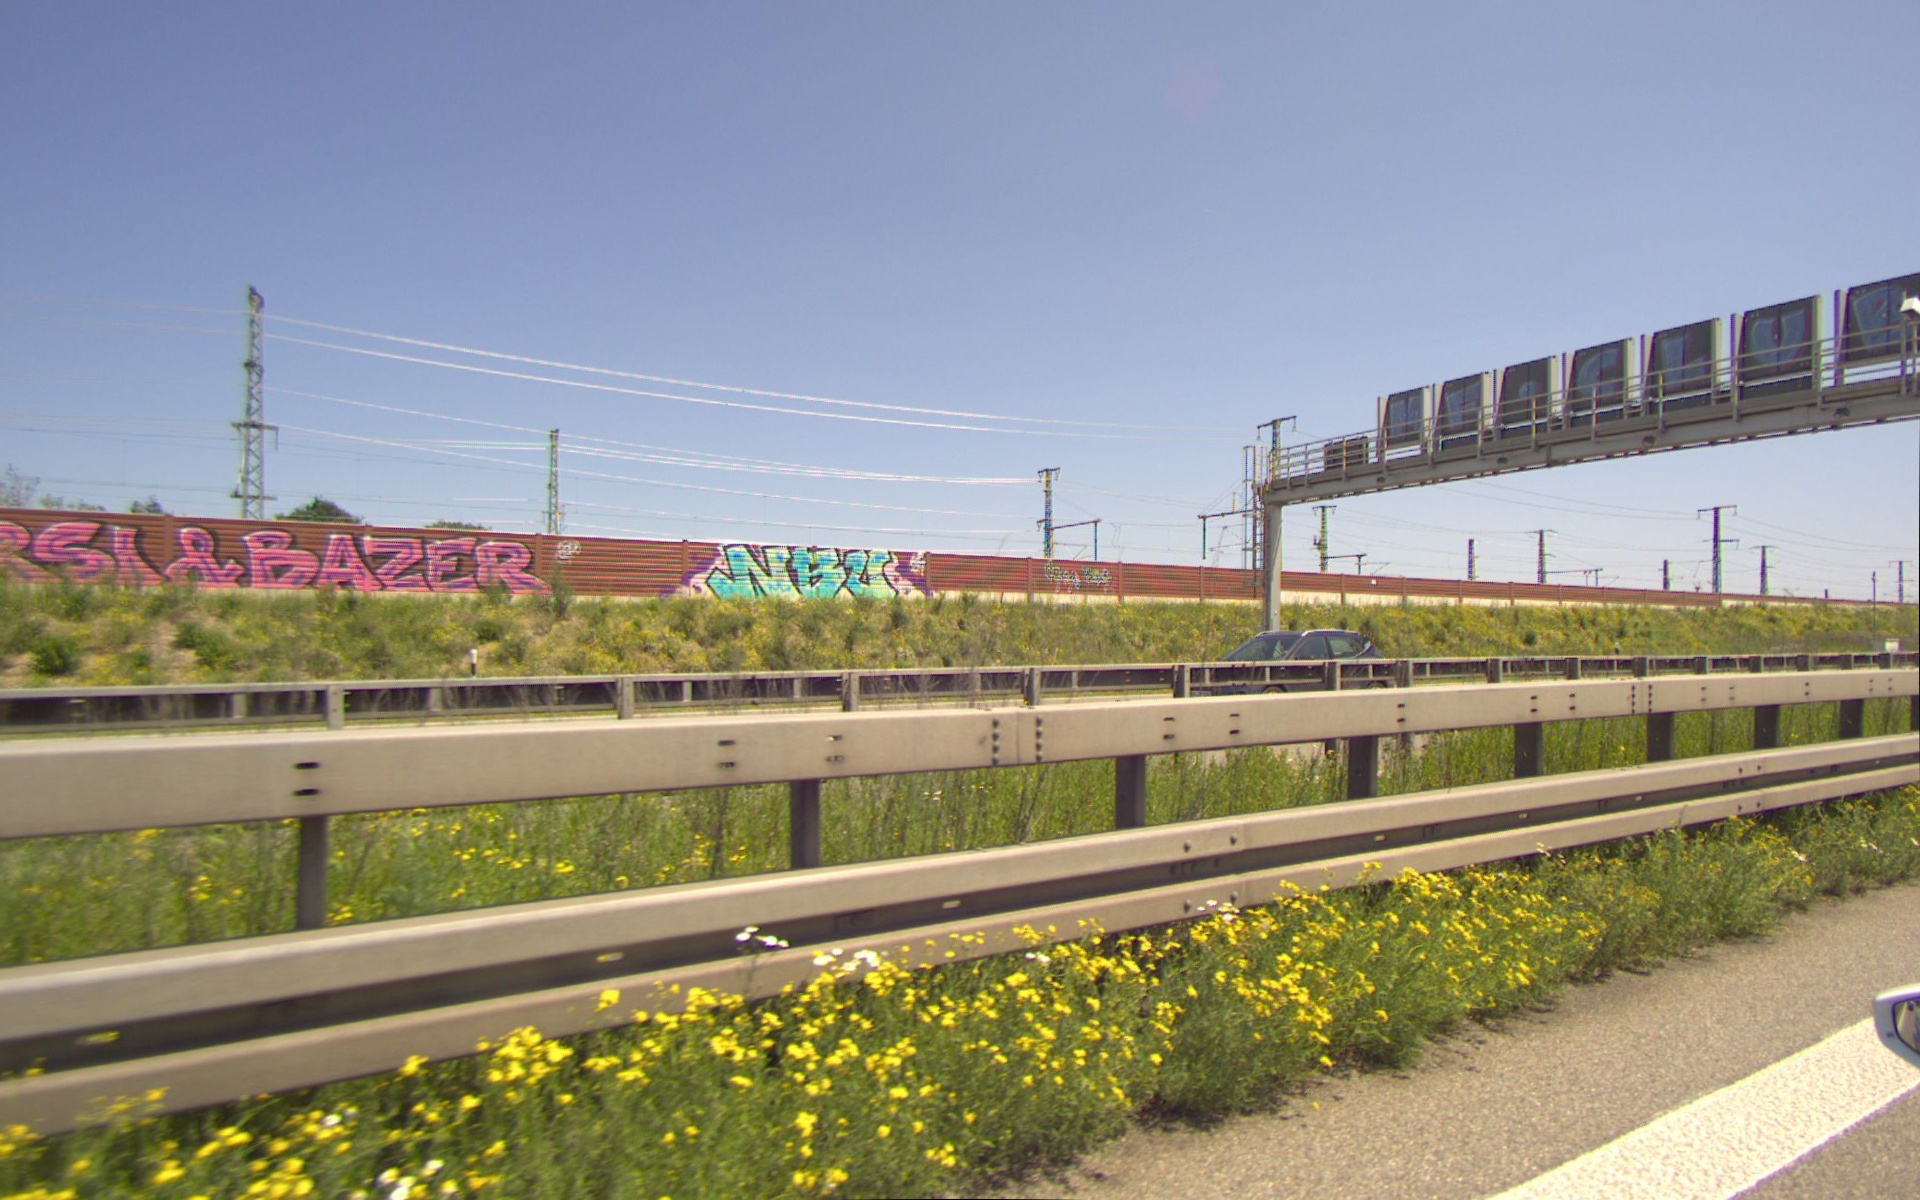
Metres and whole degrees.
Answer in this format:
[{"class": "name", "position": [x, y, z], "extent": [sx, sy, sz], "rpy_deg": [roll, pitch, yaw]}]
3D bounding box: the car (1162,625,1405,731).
[{"class": "car", "position": [5.557, 1.237, 17.178], "extent": [3.952, 1.595, 1.795], "rpy_deg": [1, -1, -30]}]
